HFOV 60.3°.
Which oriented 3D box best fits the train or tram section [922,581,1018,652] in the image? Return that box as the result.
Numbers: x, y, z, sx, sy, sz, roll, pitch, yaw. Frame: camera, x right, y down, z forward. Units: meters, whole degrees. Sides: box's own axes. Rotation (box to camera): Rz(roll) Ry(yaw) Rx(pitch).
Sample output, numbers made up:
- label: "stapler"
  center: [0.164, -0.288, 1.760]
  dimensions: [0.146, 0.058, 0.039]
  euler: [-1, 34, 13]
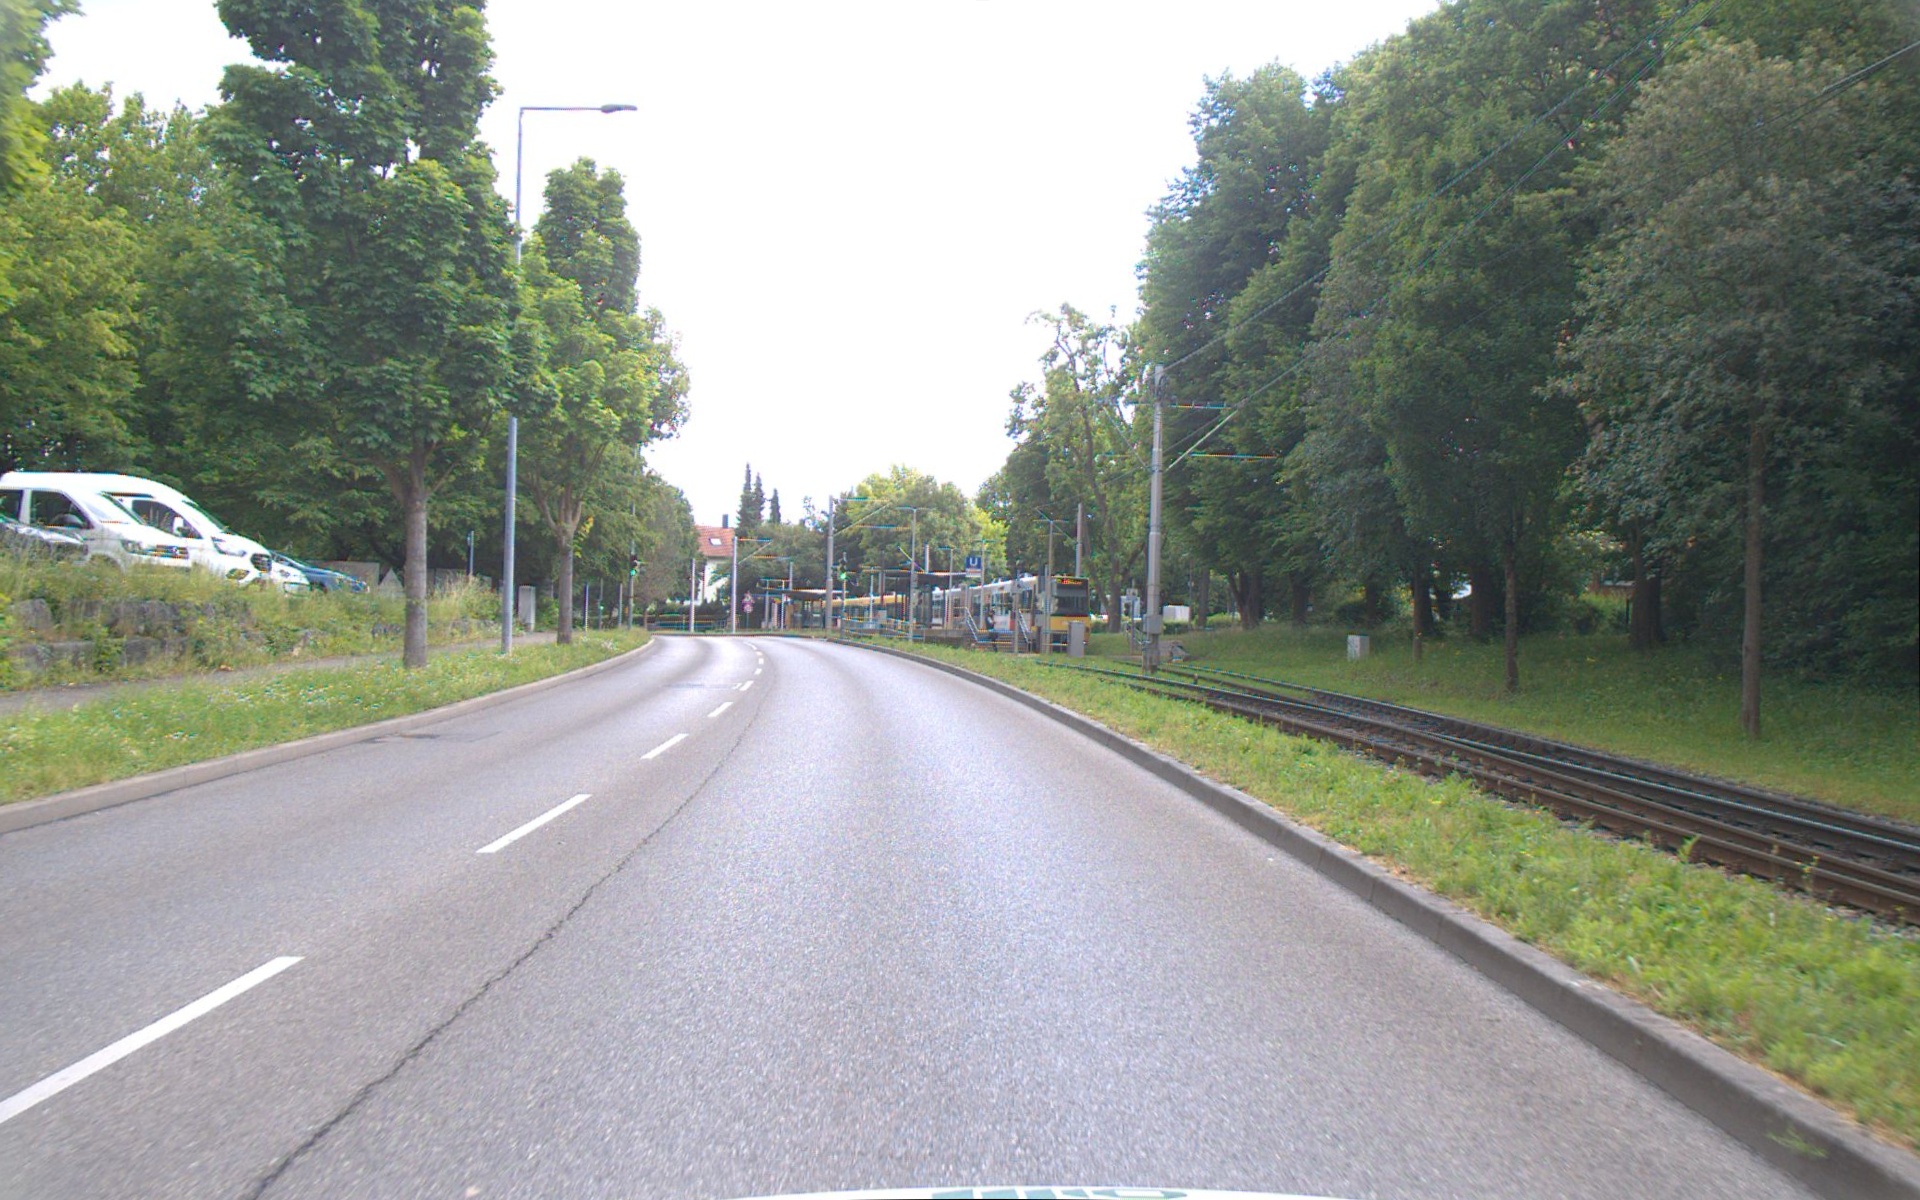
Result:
- label: "train or tram section"
  center: [0.355, 1.174, 102.125]
  dimensions: [2.761, 3.866, 18.890]
  euler: [2, -2, -9]

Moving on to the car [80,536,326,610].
- label: "car"
  center: [-15.604, -0.539, 34.247]
  dimensions: [4.291, 1.339, 1.562]
  euler: [2, 0, -4]

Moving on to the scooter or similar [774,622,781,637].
- label: "scooter or similar"
  center: [-15.077, 2.422, 136.887]
  dimensions: [0.362, 1.264, 1.140]
  euler: [1, -2, -17]

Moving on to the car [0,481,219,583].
- label: "car"
  center: [-15.645, -1.174, 28.343]
  dimensions: [4.891, 1.575, 2.097]
  euler: [2, 0, 1]

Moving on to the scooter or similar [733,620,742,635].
- label: "scooter or similar"
  center: [-19.602, 2.445, 145.897]
  dimensions: [0.424, 1.275, 1.244]
  euler: [1, -4, -26]

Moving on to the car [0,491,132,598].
- label: "car"
  center: [-15.450, -0.886, 25.844]
  dimensions: [3.951, 1.575, 2.000]
  euler: [2, 0, 1]

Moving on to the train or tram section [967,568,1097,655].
- label: "train or tram section"
  center: [3.292, 0.756, 83.550]
  dimensions: [2.761, 3.803, 18.489]
  euler: [2, -2, -9]

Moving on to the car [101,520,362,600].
- label: "car"
  center: [-16.539, -0.878, 37.748]
  dimensions: [5.054, 1.589, 1.884]
  euler: [2, 0, -4]

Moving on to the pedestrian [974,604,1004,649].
- label: "pedestrian"
  center: [1.184, 1.071, 67.812]
  dimensions: [0.969, 1.789, 0.725]
  euler: [2, -1, -20]

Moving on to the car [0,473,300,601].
- label: "car"
  center: [-15.457, -1.152, 31.206]
  dimensions: [5.054, 2.143, 2.213]
  euler: [2, 0, -4]
